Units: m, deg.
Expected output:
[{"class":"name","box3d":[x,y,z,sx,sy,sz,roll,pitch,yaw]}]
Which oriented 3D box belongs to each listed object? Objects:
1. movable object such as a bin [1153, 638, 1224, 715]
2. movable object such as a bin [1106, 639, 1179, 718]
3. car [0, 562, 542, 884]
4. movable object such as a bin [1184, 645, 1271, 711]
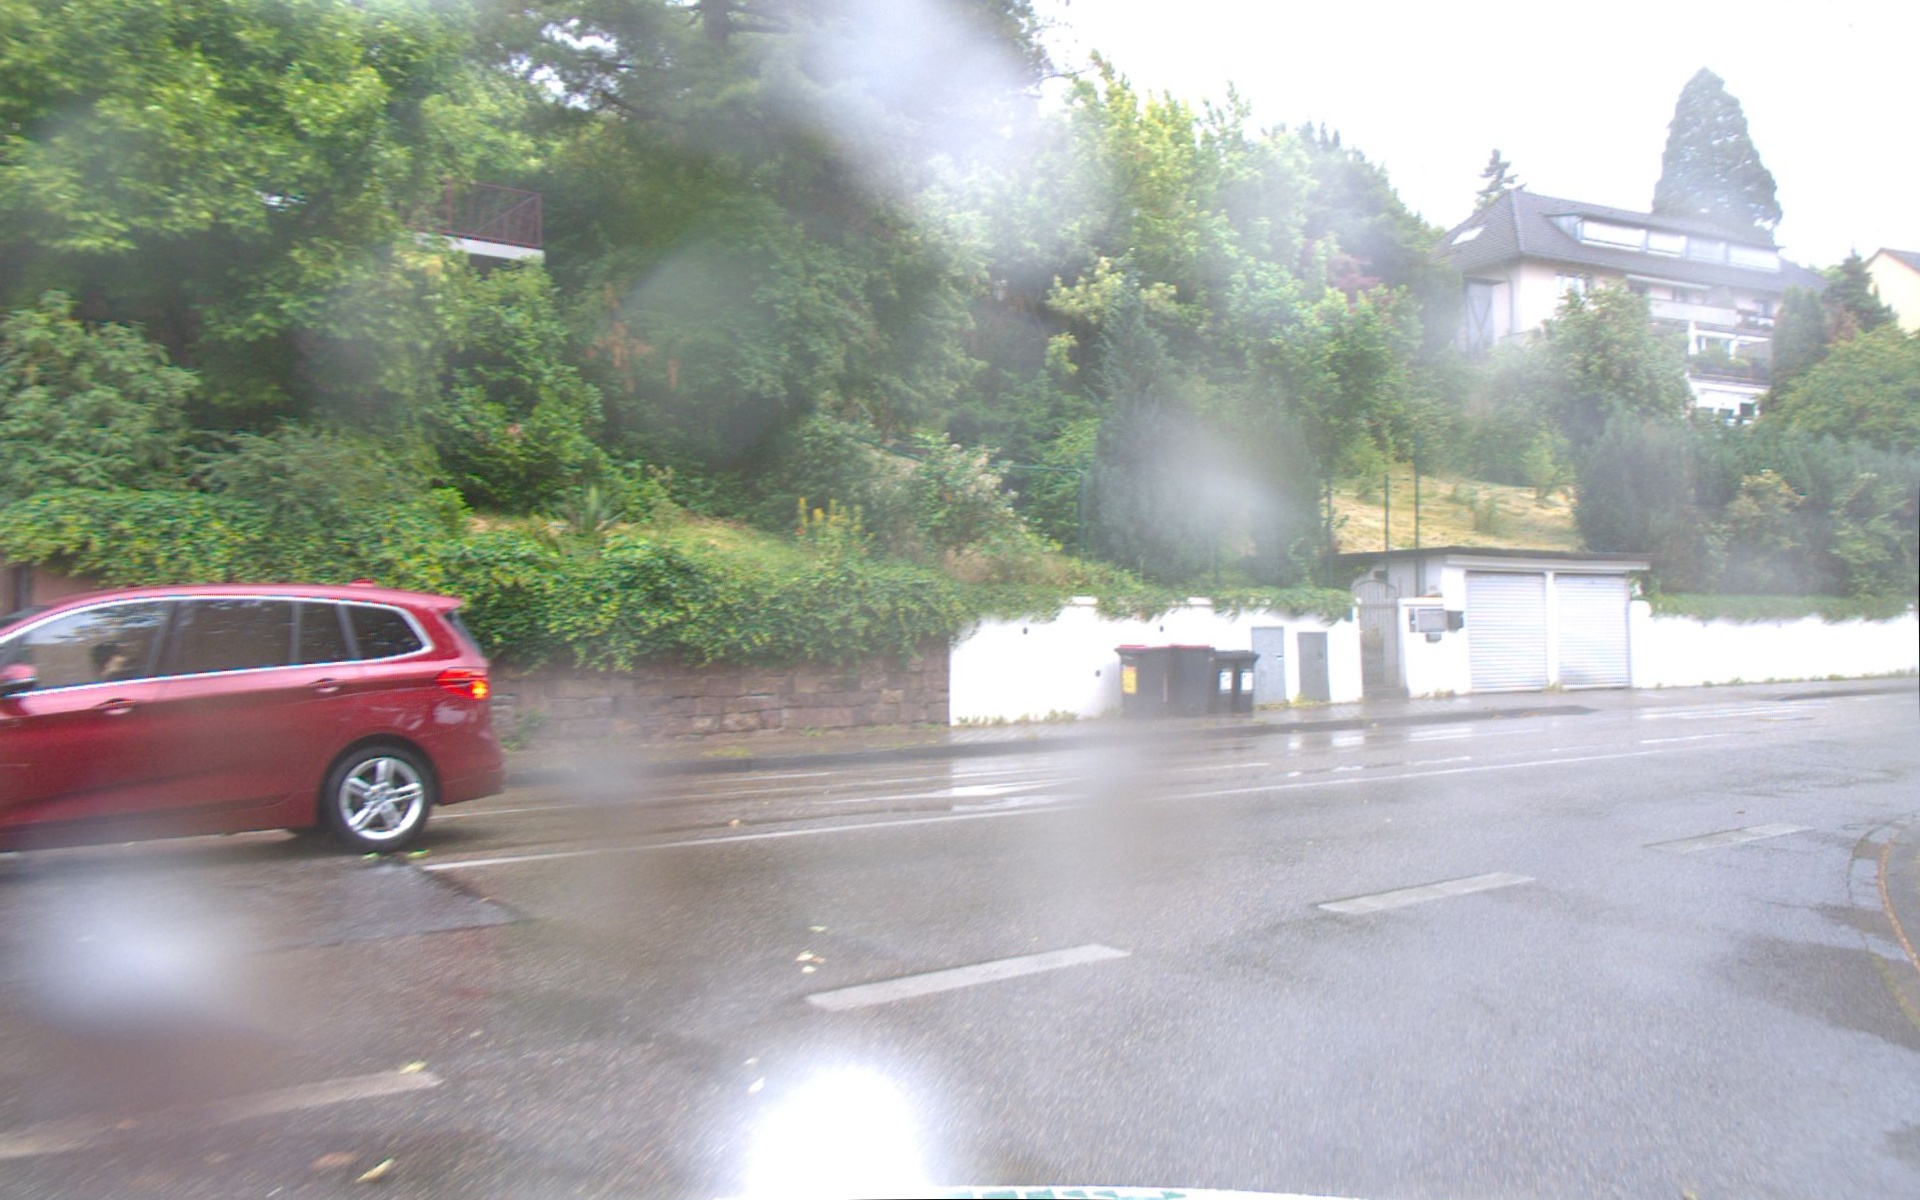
[{"class":"movable object such as a bin","box3d":[3.311,1.109,23.992,0.785,1.079,0.628,-1,-2,-37]},{"class":"movable object such as a bin","box3d":[2.607,1.118,23.617,0.746,1.079,0.680,-1,-2,-37]},{"class":"car","box3d":[-4.930,0.659,9.575,4.533,1.629,1.752,-1,-1,-36]},{"class":"movable object such as a bin","box3d":[4.003,1.162,24.765,0.944,0.932,0.841,-1,-2,-38]}]
